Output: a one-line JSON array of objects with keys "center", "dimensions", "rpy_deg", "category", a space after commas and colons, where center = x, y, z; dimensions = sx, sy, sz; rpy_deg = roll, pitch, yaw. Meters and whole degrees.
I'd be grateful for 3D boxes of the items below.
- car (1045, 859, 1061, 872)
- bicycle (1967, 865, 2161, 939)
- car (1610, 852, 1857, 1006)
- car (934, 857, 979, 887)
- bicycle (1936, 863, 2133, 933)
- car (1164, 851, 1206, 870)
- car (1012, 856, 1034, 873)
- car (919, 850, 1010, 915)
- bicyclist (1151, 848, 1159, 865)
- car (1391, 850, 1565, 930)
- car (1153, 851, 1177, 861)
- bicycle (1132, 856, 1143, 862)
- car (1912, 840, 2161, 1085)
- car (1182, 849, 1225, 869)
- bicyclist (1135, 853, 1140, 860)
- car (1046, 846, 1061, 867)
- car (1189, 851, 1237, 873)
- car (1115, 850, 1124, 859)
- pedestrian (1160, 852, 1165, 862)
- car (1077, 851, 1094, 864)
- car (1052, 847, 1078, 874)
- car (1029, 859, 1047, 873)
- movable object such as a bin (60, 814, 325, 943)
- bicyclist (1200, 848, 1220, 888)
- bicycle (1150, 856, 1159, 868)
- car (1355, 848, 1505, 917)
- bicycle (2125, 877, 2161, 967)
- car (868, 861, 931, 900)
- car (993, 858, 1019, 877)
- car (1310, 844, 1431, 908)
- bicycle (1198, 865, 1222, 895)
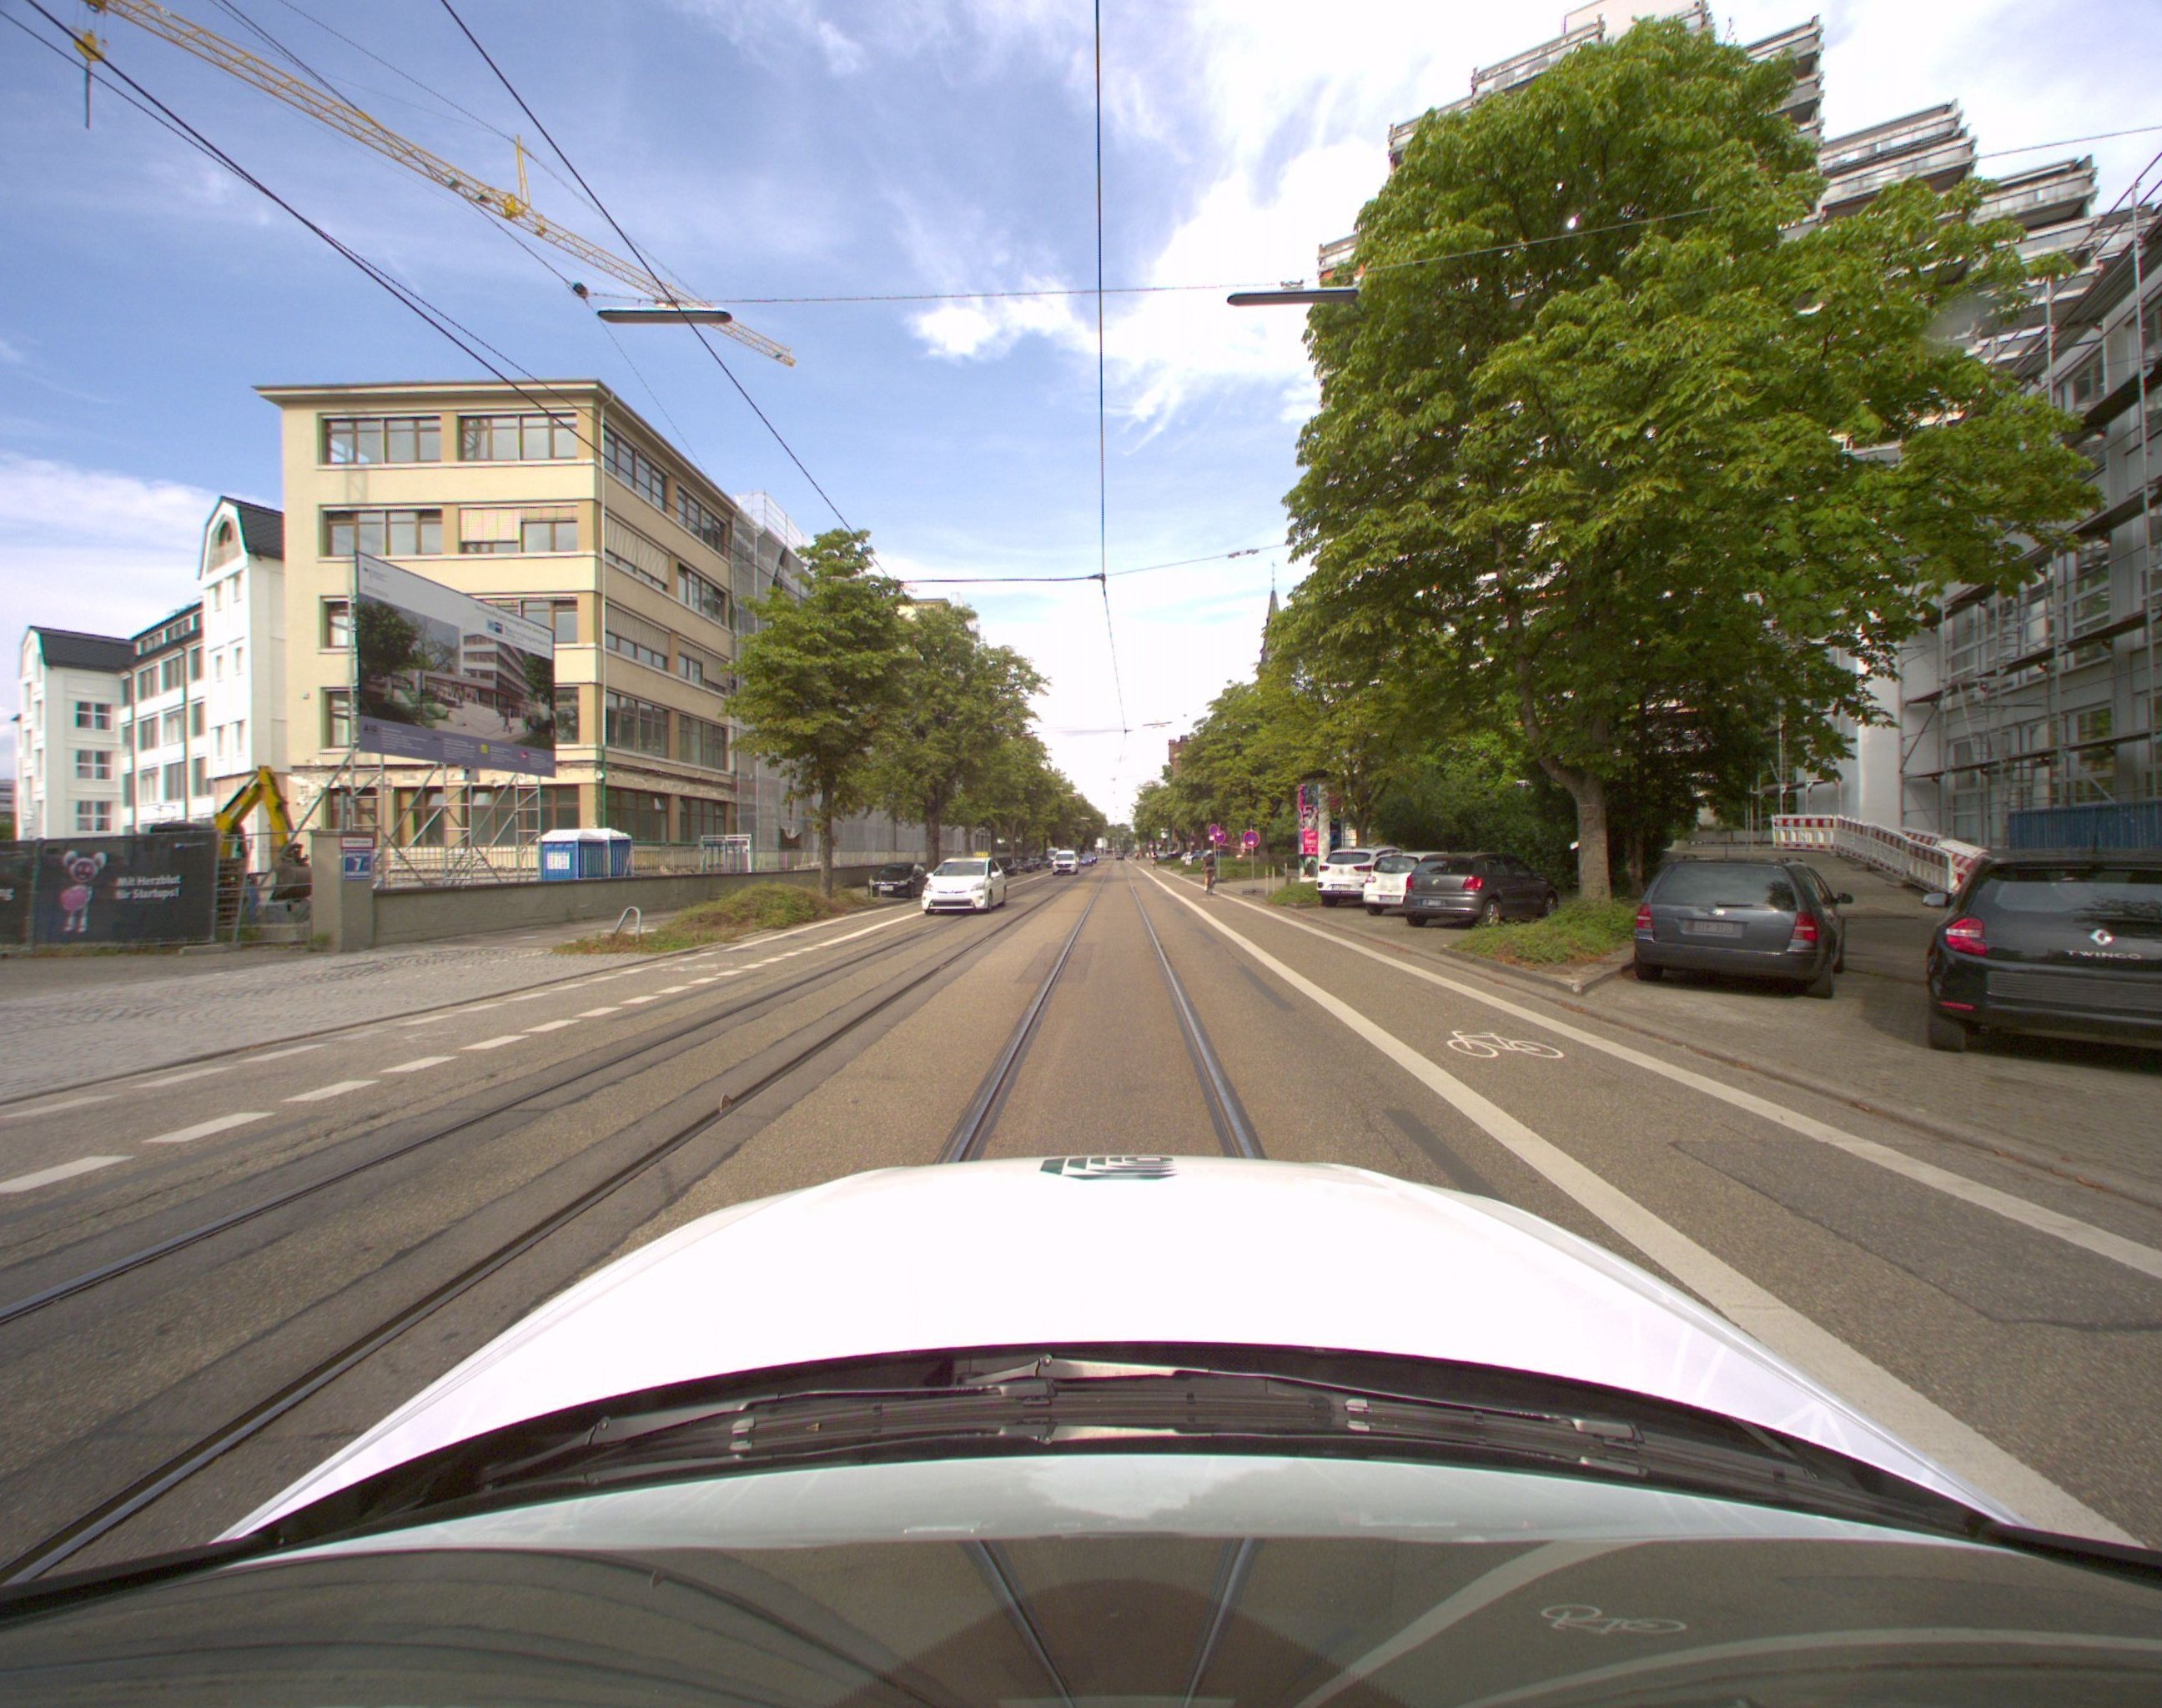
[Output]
[{"center": [-3.173, 1.263, 93.397], "dimensions": [1.585, 1.402, 3.962], "rpy_deg": [0, 0, 0], "category": "car"}, {"center": [14.748, 0.686, 12.163], "dimensions": [1.952, 1.043, 0.598], "rpy_deg": [0, 0, 30], "category": "bicycle"}, {"center": [7.880, 0.705, 9.678], "dimensions": [4.194, 1.415, 1.794], "rpy_deg": [0, -1, -45], "category": "car"}, {"center": [-6.553, 0.942, 43.219], "dimensions": [1.629, 1.496, 3.964], "rpy_deg": [0, 0, 2], "category": "car"}, {"center": [15.113, 0.664, 12.998], "dimensions": [1.952, 1.043, 0.598], "rpy_deg": [0, 0, 39], "category": "bicycle"}, {"center": [9.008, 0.562, 70.492], "dimensions": [3.667, 1.602, 1.661], "rpy_deg": [0, -1, -43], "category": "car"}, {"center": [-5.174, 0.920, 73.019], "dimensions": [1.585, 1.402, 3.962], "rpy_deg": [0, 0, 0], "category": "car"}, {"center": [-3.149, 0.720, 22.812], "dimensions": [1.725, 1.612, 4.337], "rpy_deg": [-1, 0, 2], "category": "car"}, {"center": [6.586, 0.233, 72.928], "dimensions": [0.656, 1.496, 0.930], "rpy_deg": [-1, 0, 3], "category": "bicyclist"}, {"center": [8.022, 0.642, 16.342], "dimensions": [3.663, 1.419, 1.663], "rpy_deg": [0, -1, -37], "category": "car"}, {"center": [14.864, 0.382, 144.625], "dimensions": [3.978, 1.693, 1.998], "rpy_deg": [-1, 0, -3], "category": "car"}, {"center": [11.625, 1.043, 167.188], "dimensions": [2.260, 1.189, 0.771], "rpy_deg": [0, 0, 10], "category": "bicycle"}, {"center": [7.885, 0.669, 6.491], "dimensions": [3.436, 1.537, 1.577], "rpy_deg": [-1, 0, -41], "category": "car"}, {"center": [10.316, 0.421, 68.313], "dimensions": [3.667, 1.602, 1.661], "rpy_deg": [0, -1, -43], "category": "car"}, {"center": [11.618, 0.570, 167.187], "dimensions": [0.841, 1.504, 0.771], "rpy_deg": [-1, 0, 9], "category": "bicyclist"}, {"center": [-3.602, 0.284, 106.779], "dimensions": [1.715, 2.704, 5.470], "rpy_deg": [0, 0, 0], "category": "car"}, {"center": [9.998, 0.592, 61.515], "dimensions": [3.667, 1.602, 1.661], "rpy_deg": [0, -1, -43], "category": "car"}, {"center": [8.085, 0.170, 169.524], "dimensions": [1.788, 1.824, 4.680], "rpy_deg": [0, 0, 2], "category": "car"}, {"center": [14.388, 0.598, 144.397], "dimensions": [0.742, 1.790, 0.734], "rpy_deg": [-1, -1, 17], "category": "pedestrian"}, {"center": [0.543, 0.398, 95.798], "dimensions": [1.725, 1.496, 4.381], "rpy_deg": [-1, 0, 2], "category": "car"}, {"center": [-1.151, 0.478, 60.083], "dimensions": [1.725, 1.884, 4.380], "rpy_deg": [-1, 0, 2], "category": "car"}, {"center": [-4.374, 1.188, 83.225], "dimensions": [1.585, 1.402, 3.962], "rpy_deg": [0, 0, 0], "category": "car"}, {"center": [-18.354, 0.494, 16.963], "dimensions": [3.030, 2.443, 2.506], "rpy_deg": [-1, -1, 12], "category": "movable object such as a bin"}, {"center": [4.823, 0.524, 30.527], "dimensions": [0.591, 1.459, 0.875], "rpy_deg": [-1, 0, 0], "category": "bicyclist"}, {"center": [6.587, 0.739, 72.944], "dimensions": [0.661, 1.043, 1.842], "rpy_deg": [-1, 0, 3], "category": "bicycle"}, {"center": [8.293, 0.625, 19.265], "dimensions": [3.663, 1.474, 1.663], "rpy_deg": [0, -1, -37], "category": "car"}, {"center": [13.612, 0.790, 9.425], "dimensions": [1.817, 1.043, 0.456], "rpy_deg": [-2, -1, 31], "category": "bicycle"}, {"center": [-7.173, 1.017, 32.567], "dimensions": [1.585, 1.402, 3.962], "rpy_deg": [0, 0, 0], "category": "car"}, {"center": [-5.779, 0.990, 62.727], "dimensions": [1.585, 1.402, 3.962], "rpy_deg": [0, 0, 0], "category": "car"}, {"center": [8.049, 0.563, 22.490], "dimensions": [3.667, 1.602, 1.661], "rpy_deg": [0, -1, -43], "category": "car"}, {"center": [4.823, 0.952, 30.524], "dimensions": [0.591, 1.043, 1.978], "rpy_deg": [-1, 0, 0], "category": "bicycle"}]
